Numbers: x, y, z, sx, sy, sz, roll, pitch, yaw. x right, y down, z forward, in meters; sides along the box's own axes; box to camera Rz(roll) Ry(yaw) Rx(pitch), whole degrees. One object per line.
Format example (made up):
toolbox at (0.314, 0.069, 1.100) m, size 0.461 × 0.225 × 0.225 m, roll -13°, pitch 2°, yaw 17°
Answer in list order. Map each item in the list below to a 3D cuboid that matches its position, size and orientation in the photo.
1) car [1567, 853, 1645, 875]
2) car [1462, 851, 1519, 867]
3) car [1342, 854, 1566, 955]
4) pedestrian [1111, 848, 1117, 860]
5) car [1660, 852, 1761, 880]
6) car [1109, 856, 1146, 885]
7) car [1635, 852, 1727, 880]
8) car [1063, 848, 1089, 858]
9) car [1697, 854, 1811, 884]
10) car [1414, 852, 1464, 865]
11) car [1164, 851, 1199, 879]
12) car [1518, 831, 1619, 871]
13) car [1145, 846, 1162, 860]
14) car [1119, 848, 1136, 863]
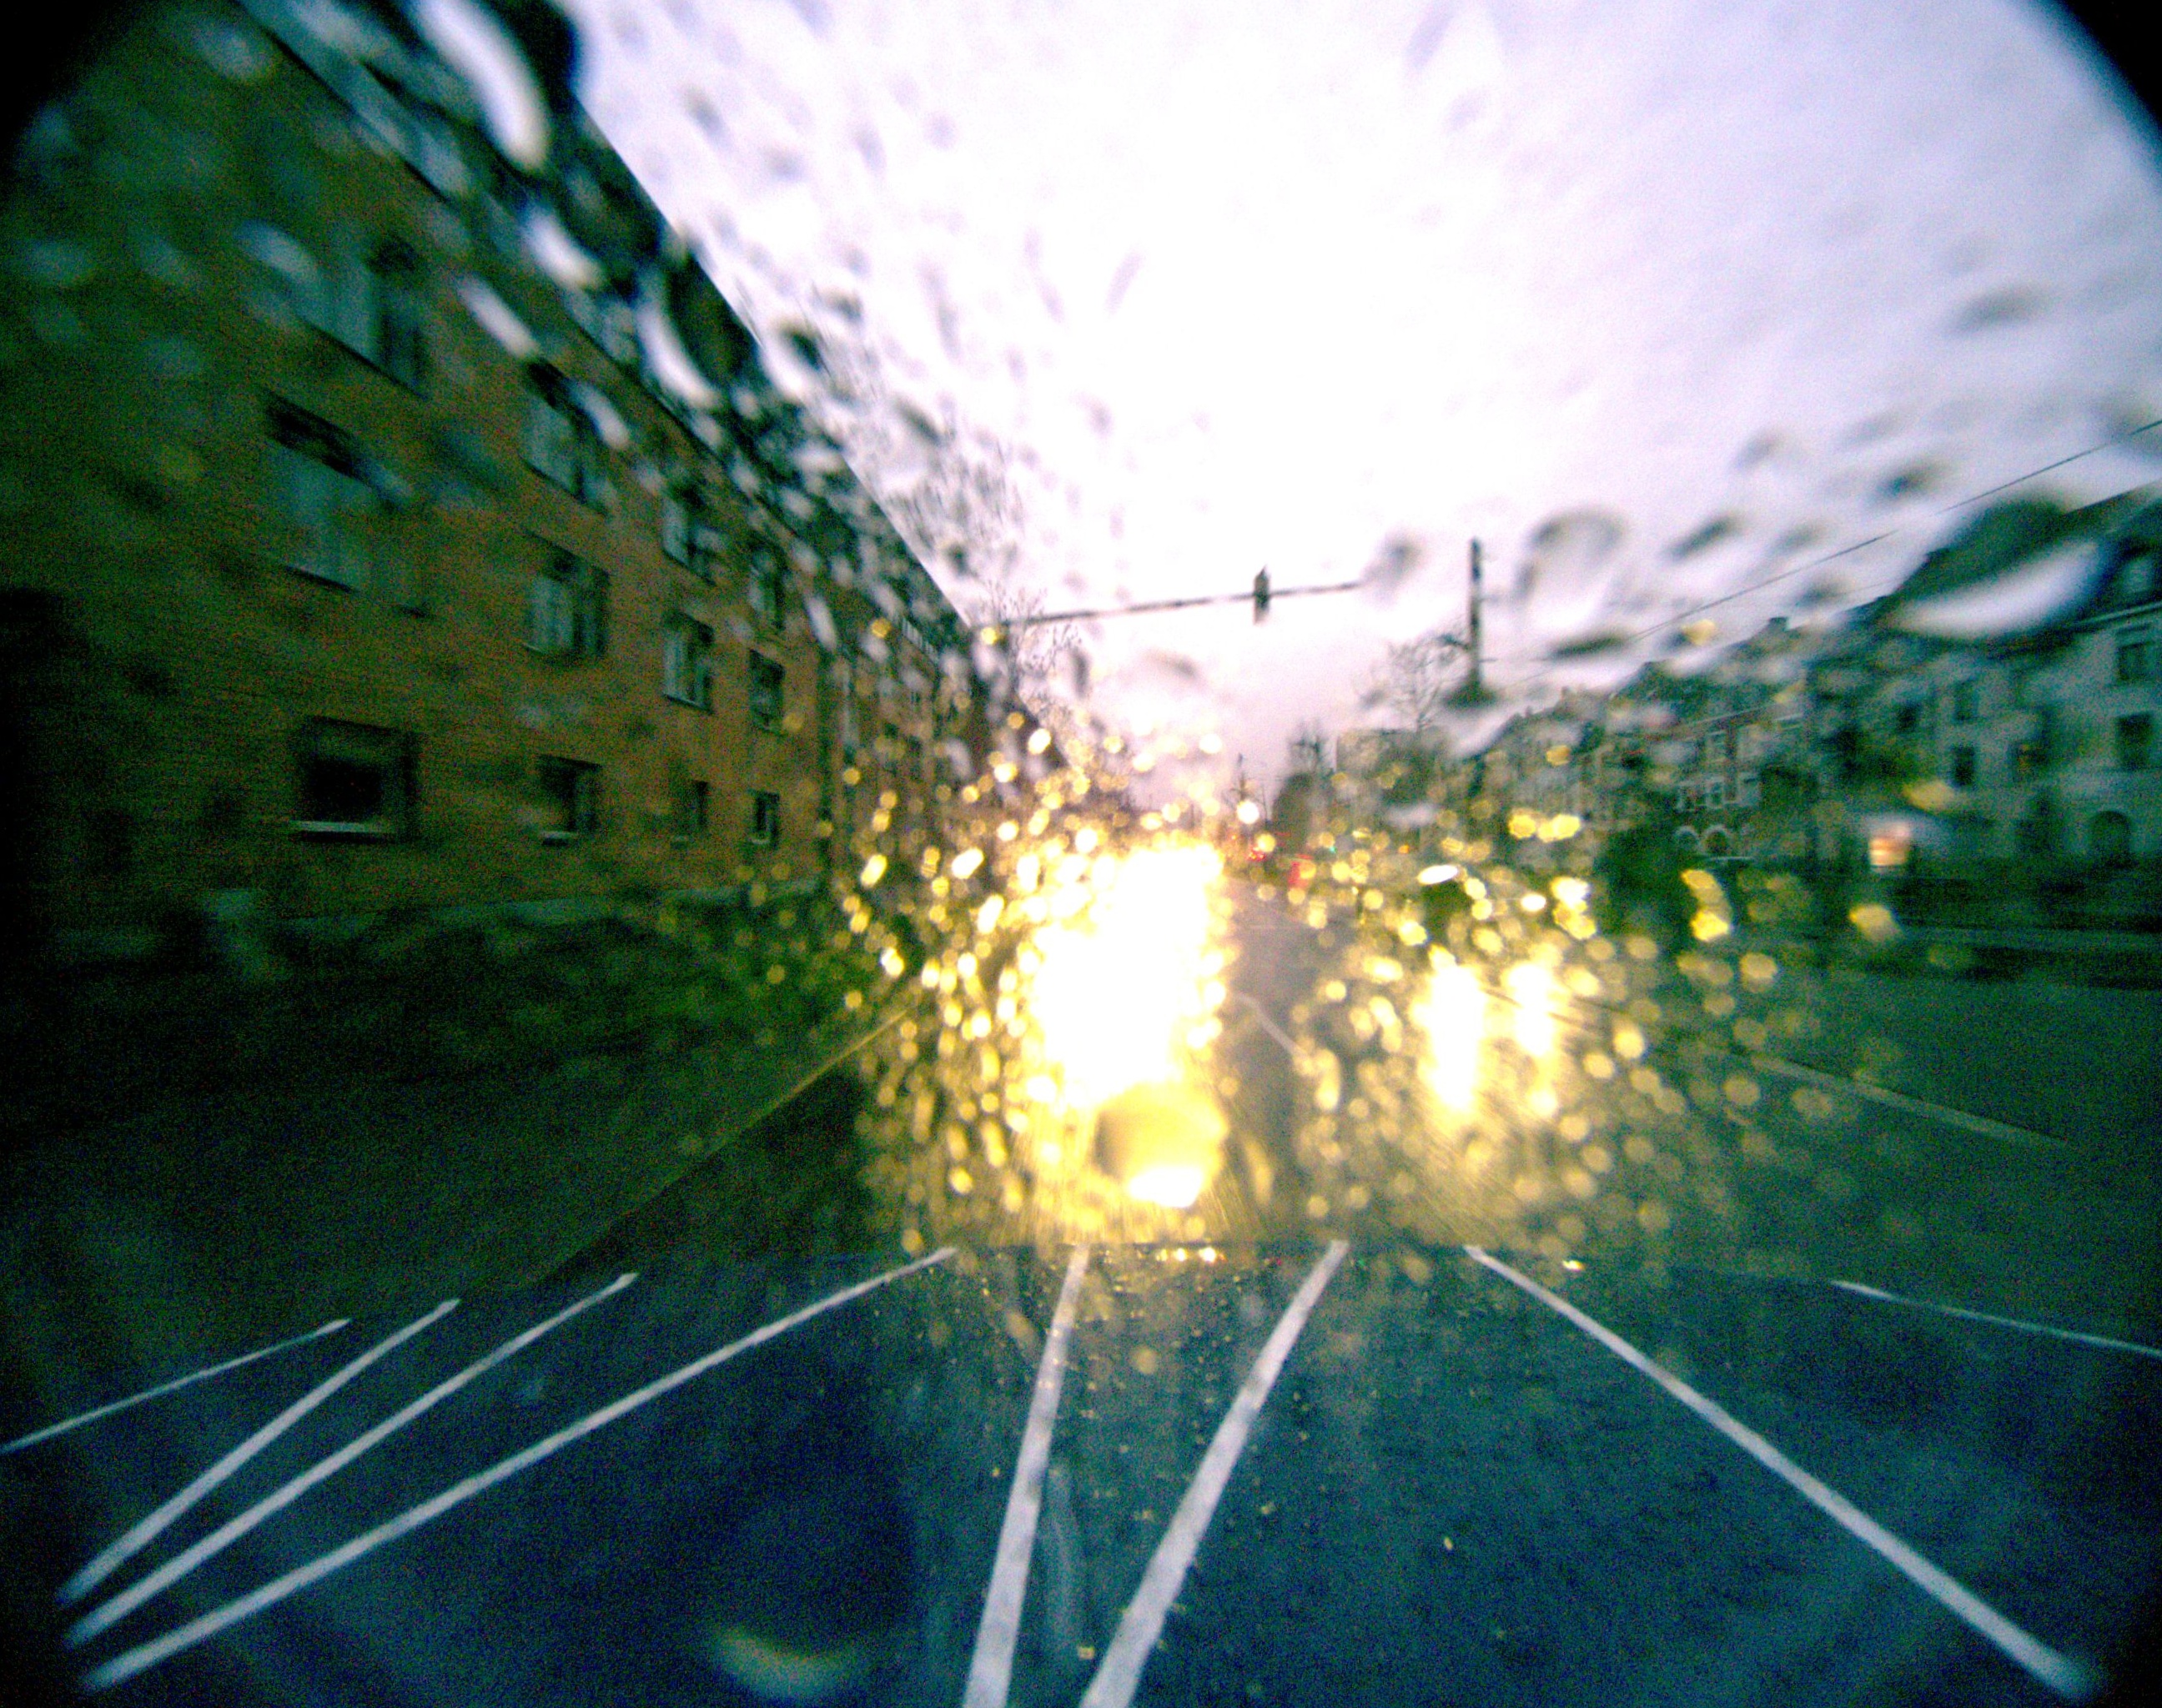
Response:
car at (34.216, 0.623, 49.568) m, size 3.988 × 1.324 × 2.004 m, roll 1°, pitch 1°, yaw 42°
car at (35.614, 0.424, 66.104) m, size 3.988 × 1.324 × 2.004 m, roll 1°, pitch 1°, yaw 39°
car at (6.369, 0.749, 13.702) m, size 1.813 × 1.421 × 4.826 m, roll -1°, pitch 1°, yaw 2°
pedestrian at (4.714, -0.013, 108.085) m, size 0.506 × 1.732 × 0.656 m, roll 0°, pitch 1°, yaw -28°
car at (33.097, 0.591, 39.980) m, size 3.988 × 1.324 × 2.004 m, roll 1°, pitch 1°, yaw 42°
car at (2.475, 0.831, 39.900) m, size 1.813 × 1.385 × 4.054 m, roll -1°, pitch 1°, yaw 5°
car at (33.897, 0.627, 43.025) m, size 3.988 × 1.477 × 2.004 m, roll 1°, pitch 1°, yaw 39°
car at (-0.783, -0.192, 124.950) m, size 3.995 × 1.547 × 1.743 m, roll 1°, pitch 1°, yaw 6°
car at (32.256, 0.661, 36.511) m, size 3.988 × 1.324 × 2.004 m, roll 1°, pitch 1°, yaw 42°
car at (35.262, 0.445, 74.905) m, size 3.988 × 1.162 × 2.004 m, roll 1°, pitch 1°, yaw 43°
car at (5.809, 0.593, 44.373) m, size 1.813 × 1.488 × 4.054 m, roll -1°, pitch 1°, yaw 5°
car at (35.256, -0.250, 55.098) m, size 2.004 × 2.781 × 5.849 m, roll -1°, pitch 1°, yaw -44°
car at (9.143, -0.126, 95.499) m, size 1.998 × 1.745 × 4.001 m, roll 0°, pitch 0°, yaw 4°
car at (5.738, 0.166, 92.662) m, size 1.998 × 1.745 × 4.001 m, roll 0°, pitch 0°, yaw 4°
